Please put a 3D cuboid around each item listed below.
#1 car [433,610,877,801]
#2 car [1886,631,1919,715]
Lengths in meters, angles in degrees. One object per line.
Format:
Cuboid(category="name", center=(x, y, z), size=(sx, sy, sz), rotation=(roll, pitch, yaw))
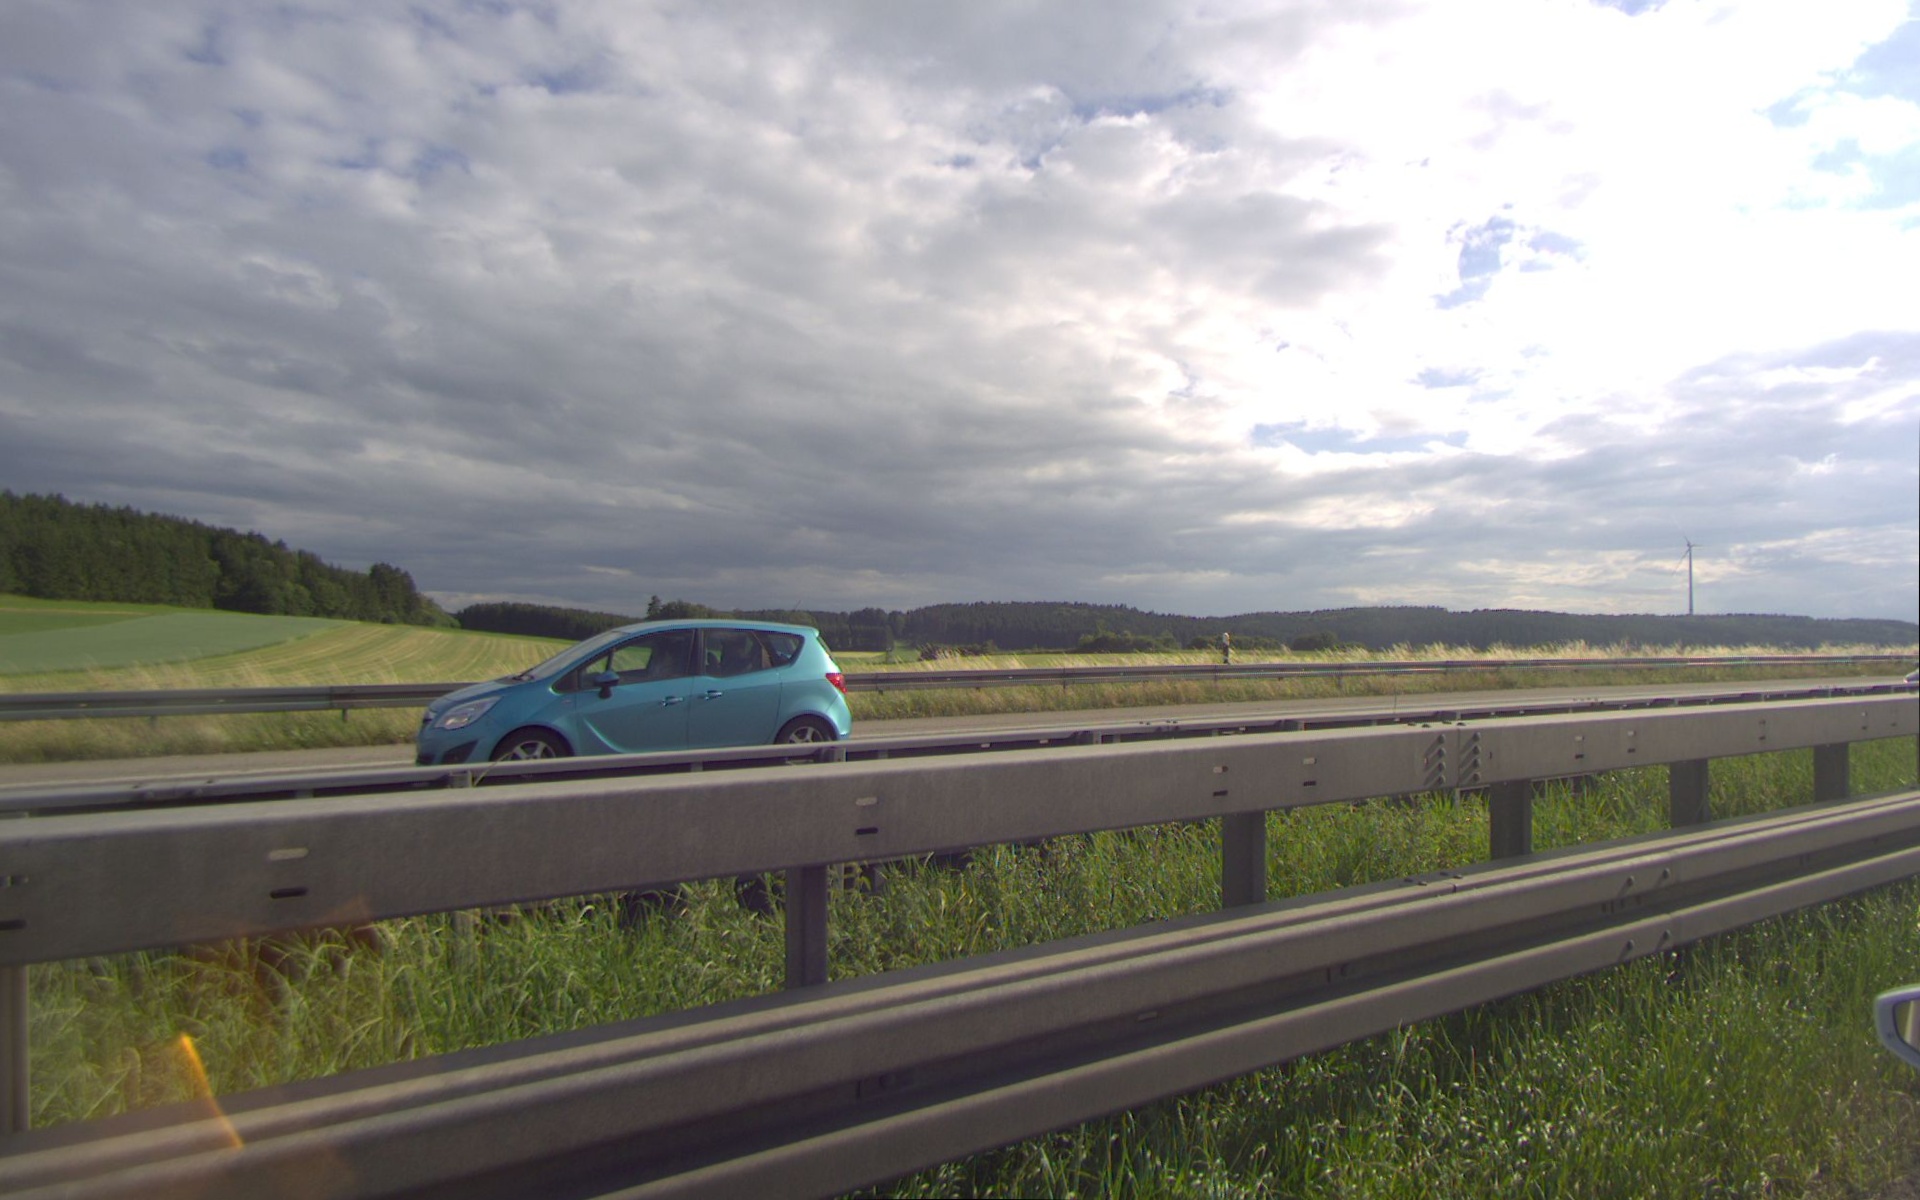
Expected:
Cuboid(category="car", center=(-3.072, 0.954, 10.326), size=(4.069, 1.609, 1.726), rotation=(2, -1, -30))
Cuboid(category="car", center=(19.750, 1.418, 19.408), size=(4.111, 1.535, 1.590), rotation=(2, -1, -30))
